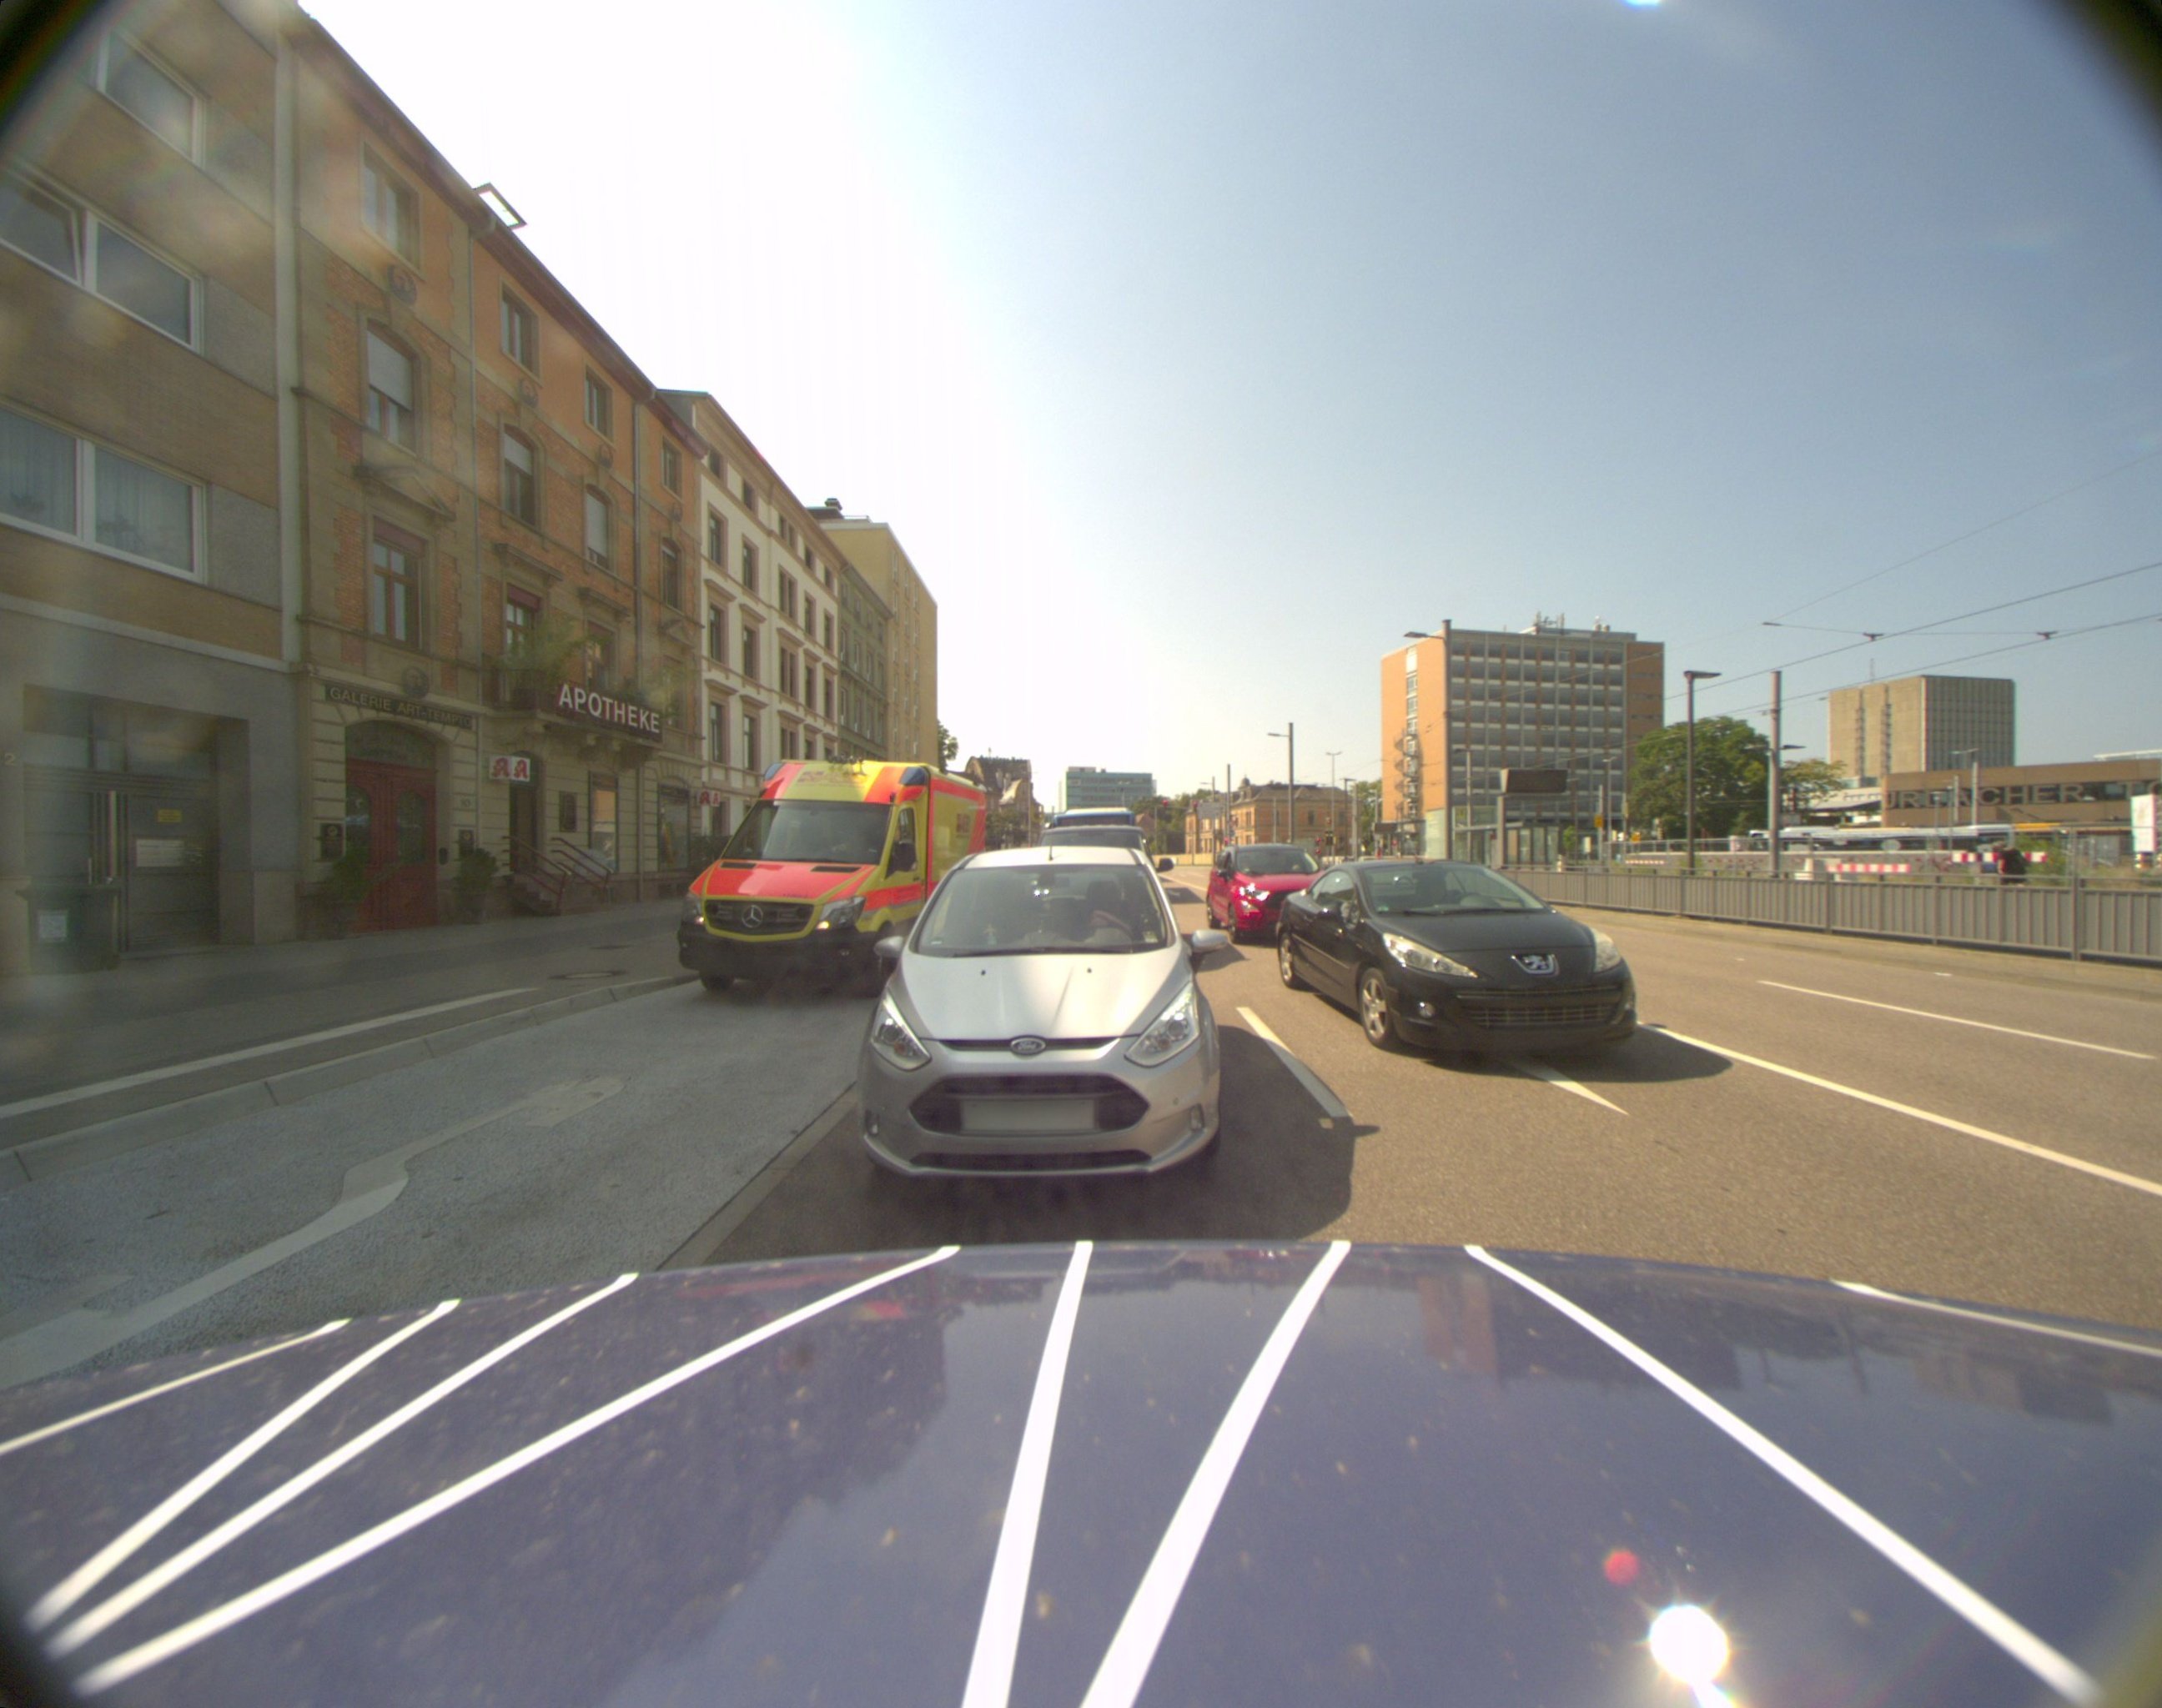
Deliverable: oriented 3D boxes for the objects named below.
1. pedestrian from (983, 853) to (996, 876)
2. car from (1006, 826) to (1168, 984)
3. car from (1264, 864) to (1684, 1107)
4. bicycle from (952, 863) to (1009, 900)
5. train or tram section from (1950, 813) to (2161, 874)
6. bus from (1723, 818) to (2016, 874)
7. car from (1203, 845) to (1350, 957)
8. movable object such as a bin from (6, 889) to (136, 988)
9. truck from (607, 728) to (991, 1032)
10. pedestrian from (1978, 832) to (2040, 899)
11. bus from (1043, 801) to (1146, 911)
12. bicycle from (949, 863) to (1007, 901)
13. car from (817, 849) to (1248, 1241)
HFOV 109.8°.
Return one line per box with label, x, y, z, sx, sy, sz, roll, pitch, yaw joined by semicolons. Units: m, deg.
pedestrian;-7.109;0.827;59.063;0.687;1.748;0.798;1;1;26
car;0.126;0.631;12.004;1.998;1.953;4.816;-2;0;1
car;2.903;0.843;6.621;1.692;1.405;3.801;-2;0;1
bicycle;-3.405;0.930;25.772;1.841;1.196;0.434;-2;1;1
train or tram section;65.174;-0.659;48.731;2.004;3.743;12.331;-1;0;-45
bus;52.345;-0.418;51.333;3.357;3.275;13.371;-3;0;-45
car;3.203;0.688;13.213;1.634;1.611;3.968;-2;0;2
movable object such as a bin;-11.978;0.976;9.038;0.648;1.098;0.727;1;0;-24
truck;-3.025;0.207;10.224;2.333;2.754;6.340;2;1;4
pedestrian;25.100;0.297;20.569;0.745;1.777;0.761;0;1;1
bus;0.560;0.046;28.530;2.919;3.119;12.345;-2;0;1
bicycle;-3.431;0.935;25.336;1.841;1.196;0.434;-2;1;1
car;-0.150;0.784;5.106;1.728;1.579;4.000;-1;0;1
